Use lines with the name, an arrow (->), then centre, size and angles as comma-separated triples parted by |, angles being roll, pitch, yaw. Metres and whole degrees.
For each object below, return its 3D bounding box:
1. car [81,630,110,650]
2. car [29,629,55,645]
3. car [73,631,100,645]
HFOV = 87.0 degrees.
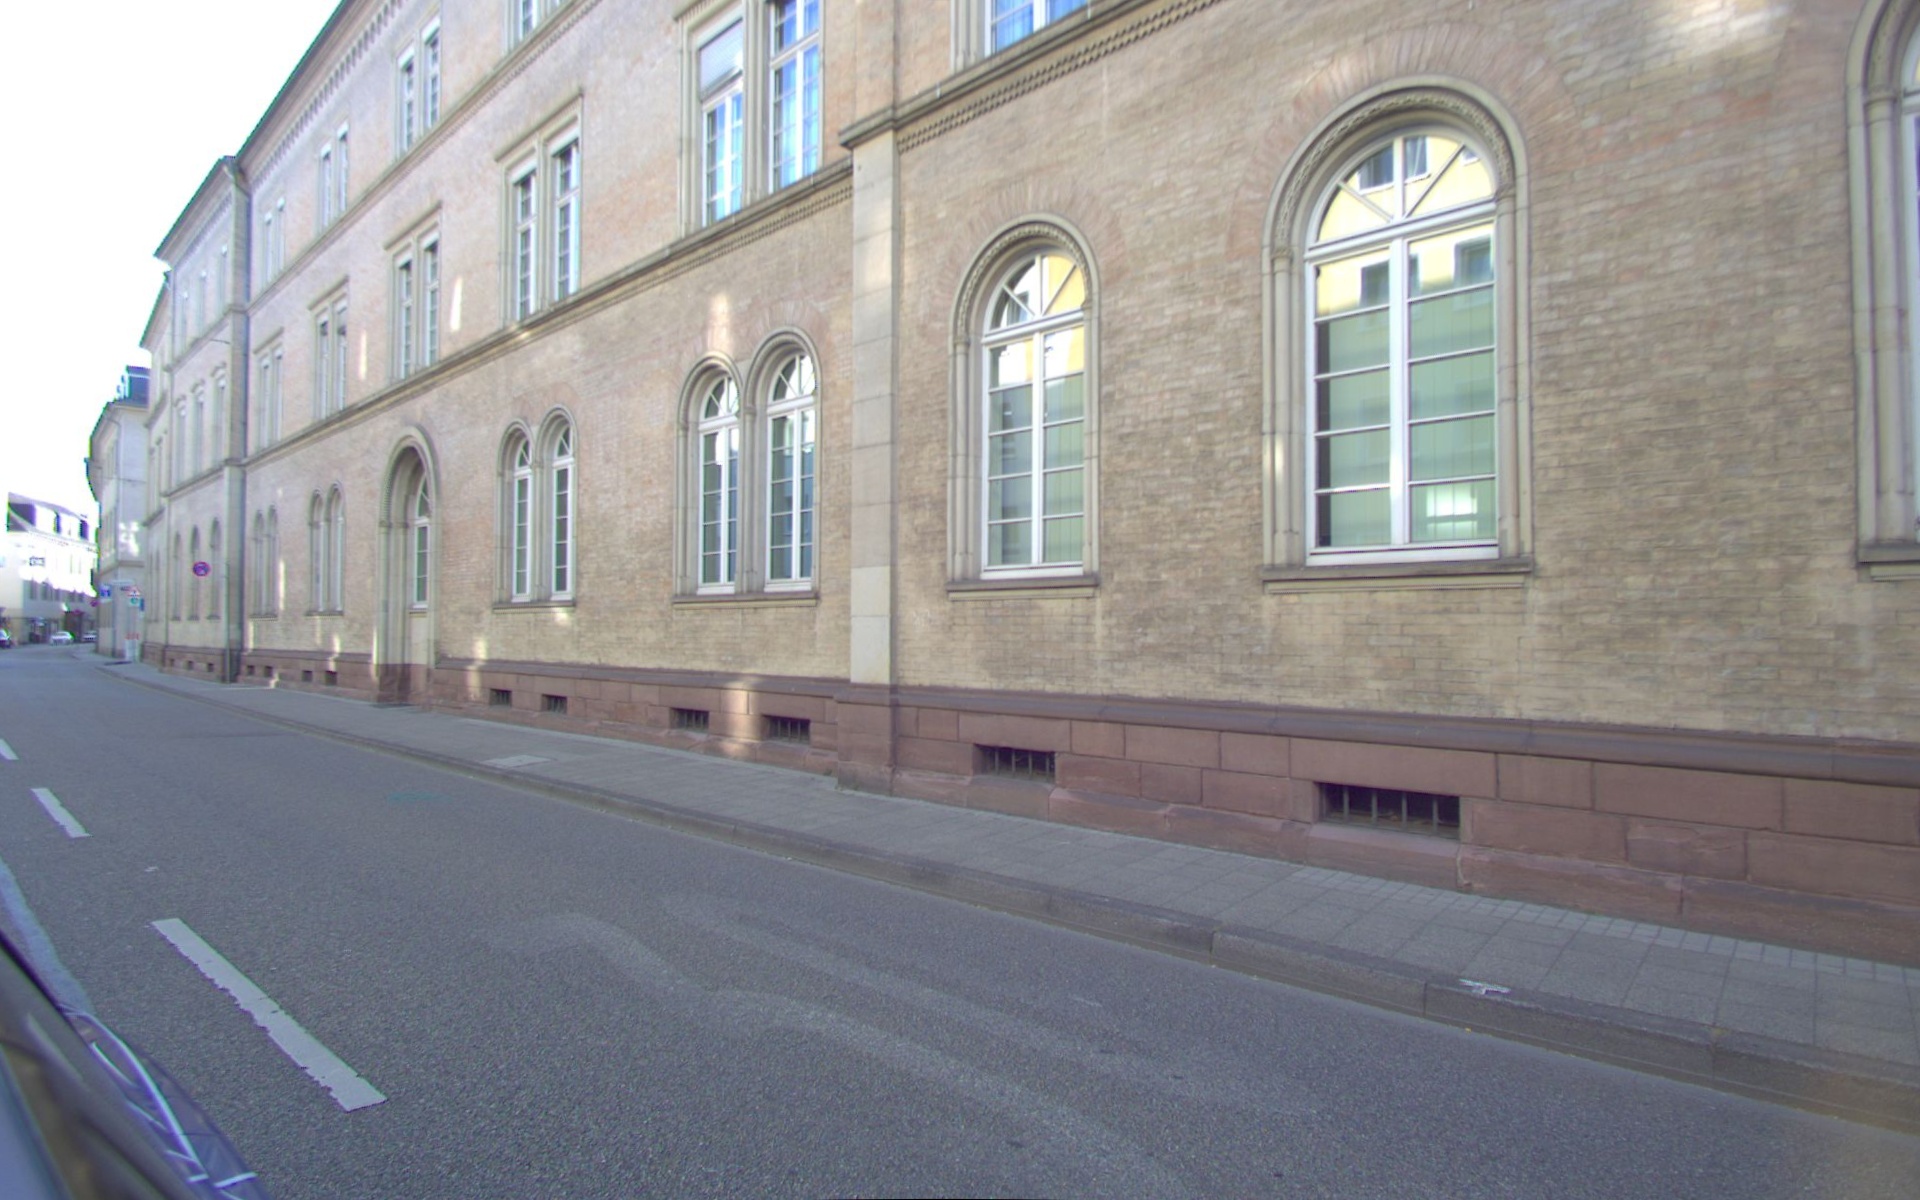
car -> -80.046, 3.691, 93.736 | 1.638, 1.737, 3.748 | 1, -2, -36
car -> -102.483, 4.127, 113.004 | 1.511, 1.737, 3.749 | 1, -2, -34
car -> -109.185, 4.792, 126.534 | 1.896, 1.737, 4.242 | 1, -2, -31
